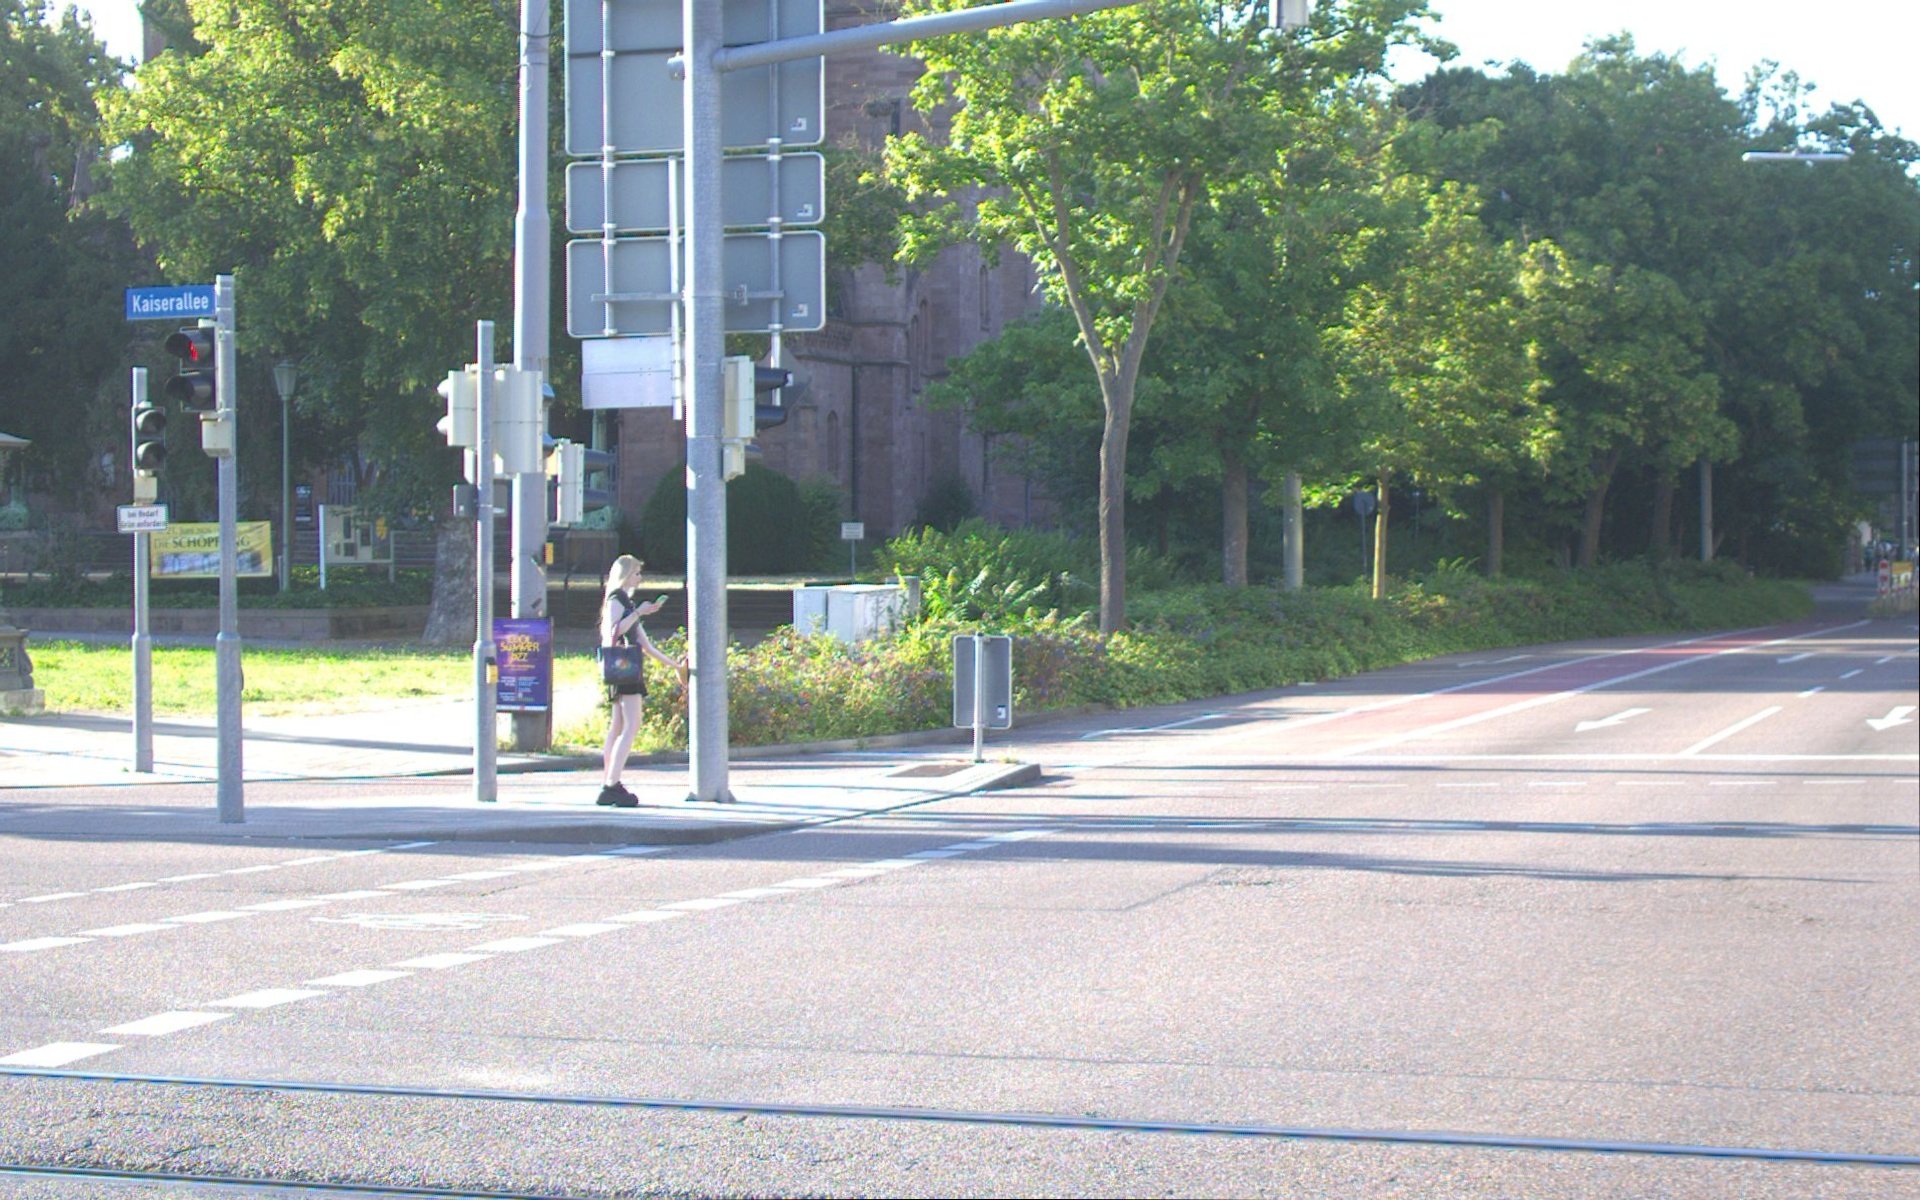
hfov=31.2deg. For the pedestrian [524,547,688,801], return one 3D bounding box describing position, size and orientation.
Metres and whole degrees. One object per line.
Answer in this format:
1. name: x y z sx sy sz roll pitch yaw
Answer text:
1. pedestrian: -2.474 0.495 24.094 0.810 1.733 0.967 1 1 19
